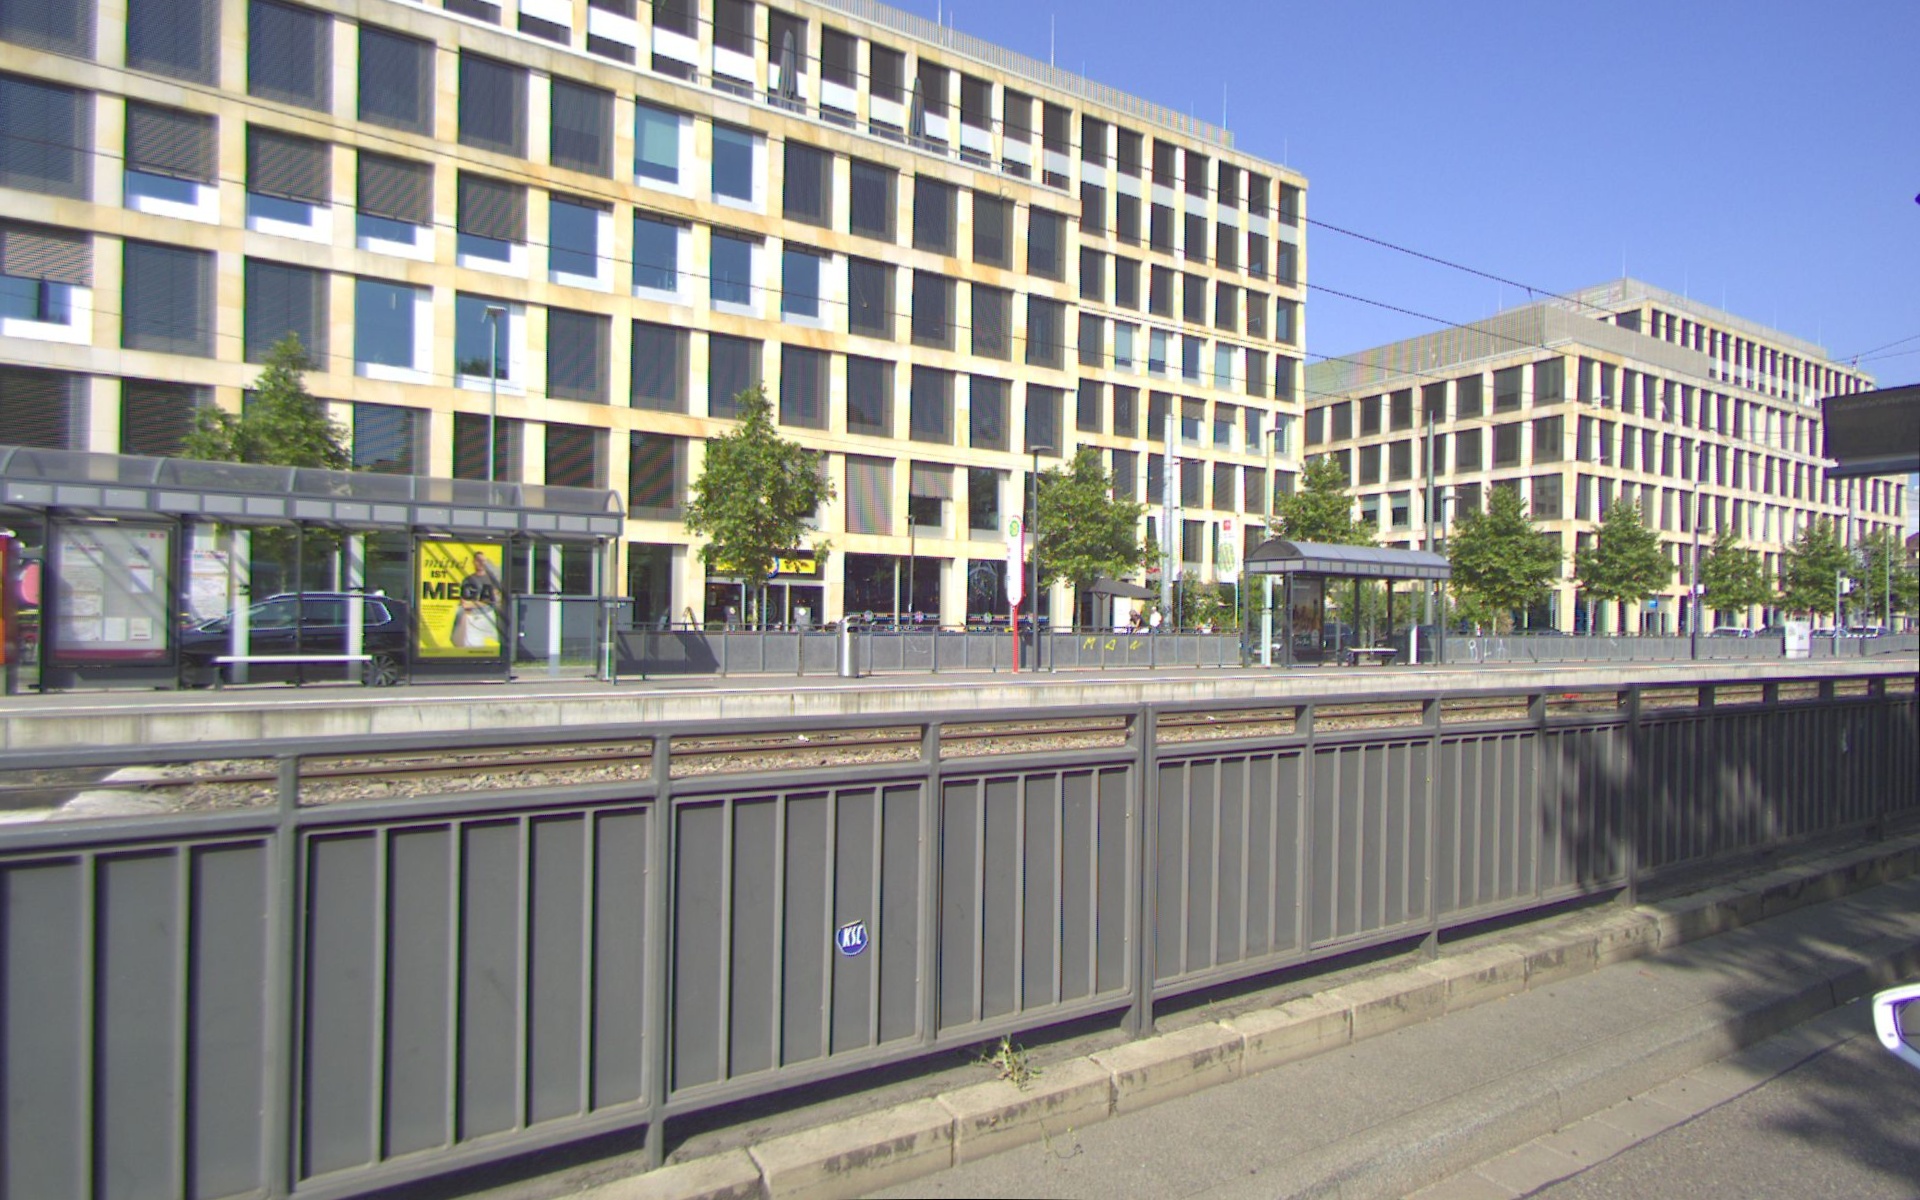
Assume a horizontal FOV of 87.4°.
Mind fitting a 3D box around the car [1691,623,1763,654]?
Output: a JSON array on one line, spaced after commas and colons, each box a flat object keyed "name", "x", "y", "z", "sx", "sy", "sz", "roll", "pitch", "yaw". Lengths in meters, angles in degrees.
[{"name": "car", "x": 41.039, "y": 2.063, "z": 53.748, "sx": 4.087, "sy": 1.595, "sz": 1.754, "roll": 2, "pitch": -2, "yaw": -32}]

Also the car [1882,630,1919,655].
[{"name": "car", "x": 64.288, "y": 2.875, "z": 67.965, "sx": 4.087, "sy": 1.624, "sz": 1.754, "roll": 2, "pitch": -2, "yaw": -32}]

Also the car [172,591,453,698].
[{"name": "car", "x": -10.486, "y": 0.705, "z": 16.562, "sx": 3.715, "sy": 1.592, "sz": 1.654, "roll": 1, "pitch": -1, "yaw": -30}]

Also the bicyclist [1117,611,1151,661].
[{"name": "bicyclist", "x": 5.081, "y": 1.075, "z": 29.361, "sx": 0.775, "sy": 1.420, "sz": 0.626, "roll": 3, "pitch": -4, "yaw": -31}]

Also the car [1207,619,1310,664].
[{"name": "car", "x": 10.311, "y": 1.413, "z": 34.594, "sx": 3.468, "sy": 1.447, "sz": 1.544, "roll": 1, "pitch": -1, "yaw": -33}]

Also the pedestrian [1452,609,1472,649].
[{"name": "pedestrian", "x": 26.152, "y": 1.523, "z": 52.352, "sx": 0.813, "sy": 2.039, "sz": 0.560, "roll": 3, "pitch": -4, "yaw": -31}]

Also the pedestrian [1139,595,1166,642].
[{"name": "pedestrian", "x": 8.283, "y": 0.804, "z": 43.150, "sx": 0.830, "sy": 1.941, "sz": 0.788, "roll": 3, "pitch": -5, "yaw": -36}]

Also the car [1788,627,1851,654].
[{"name": "car", "x": 51.965, "y": 2.463, "z": 60.692, "sx": 4.087, "sy": 1.595, "sz": 1.754, "roll": 2, "pitch": -2, "yaw": -32}]

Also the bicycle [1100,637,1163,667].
[{"name": "bicycle", "x": 5.006, "y": 1.527, "z": 29.287, "sx": 1.876, "sy": 0.832, "sz": 0.626, "roll": 3, "pitch": -5, "yaw": -31}]
